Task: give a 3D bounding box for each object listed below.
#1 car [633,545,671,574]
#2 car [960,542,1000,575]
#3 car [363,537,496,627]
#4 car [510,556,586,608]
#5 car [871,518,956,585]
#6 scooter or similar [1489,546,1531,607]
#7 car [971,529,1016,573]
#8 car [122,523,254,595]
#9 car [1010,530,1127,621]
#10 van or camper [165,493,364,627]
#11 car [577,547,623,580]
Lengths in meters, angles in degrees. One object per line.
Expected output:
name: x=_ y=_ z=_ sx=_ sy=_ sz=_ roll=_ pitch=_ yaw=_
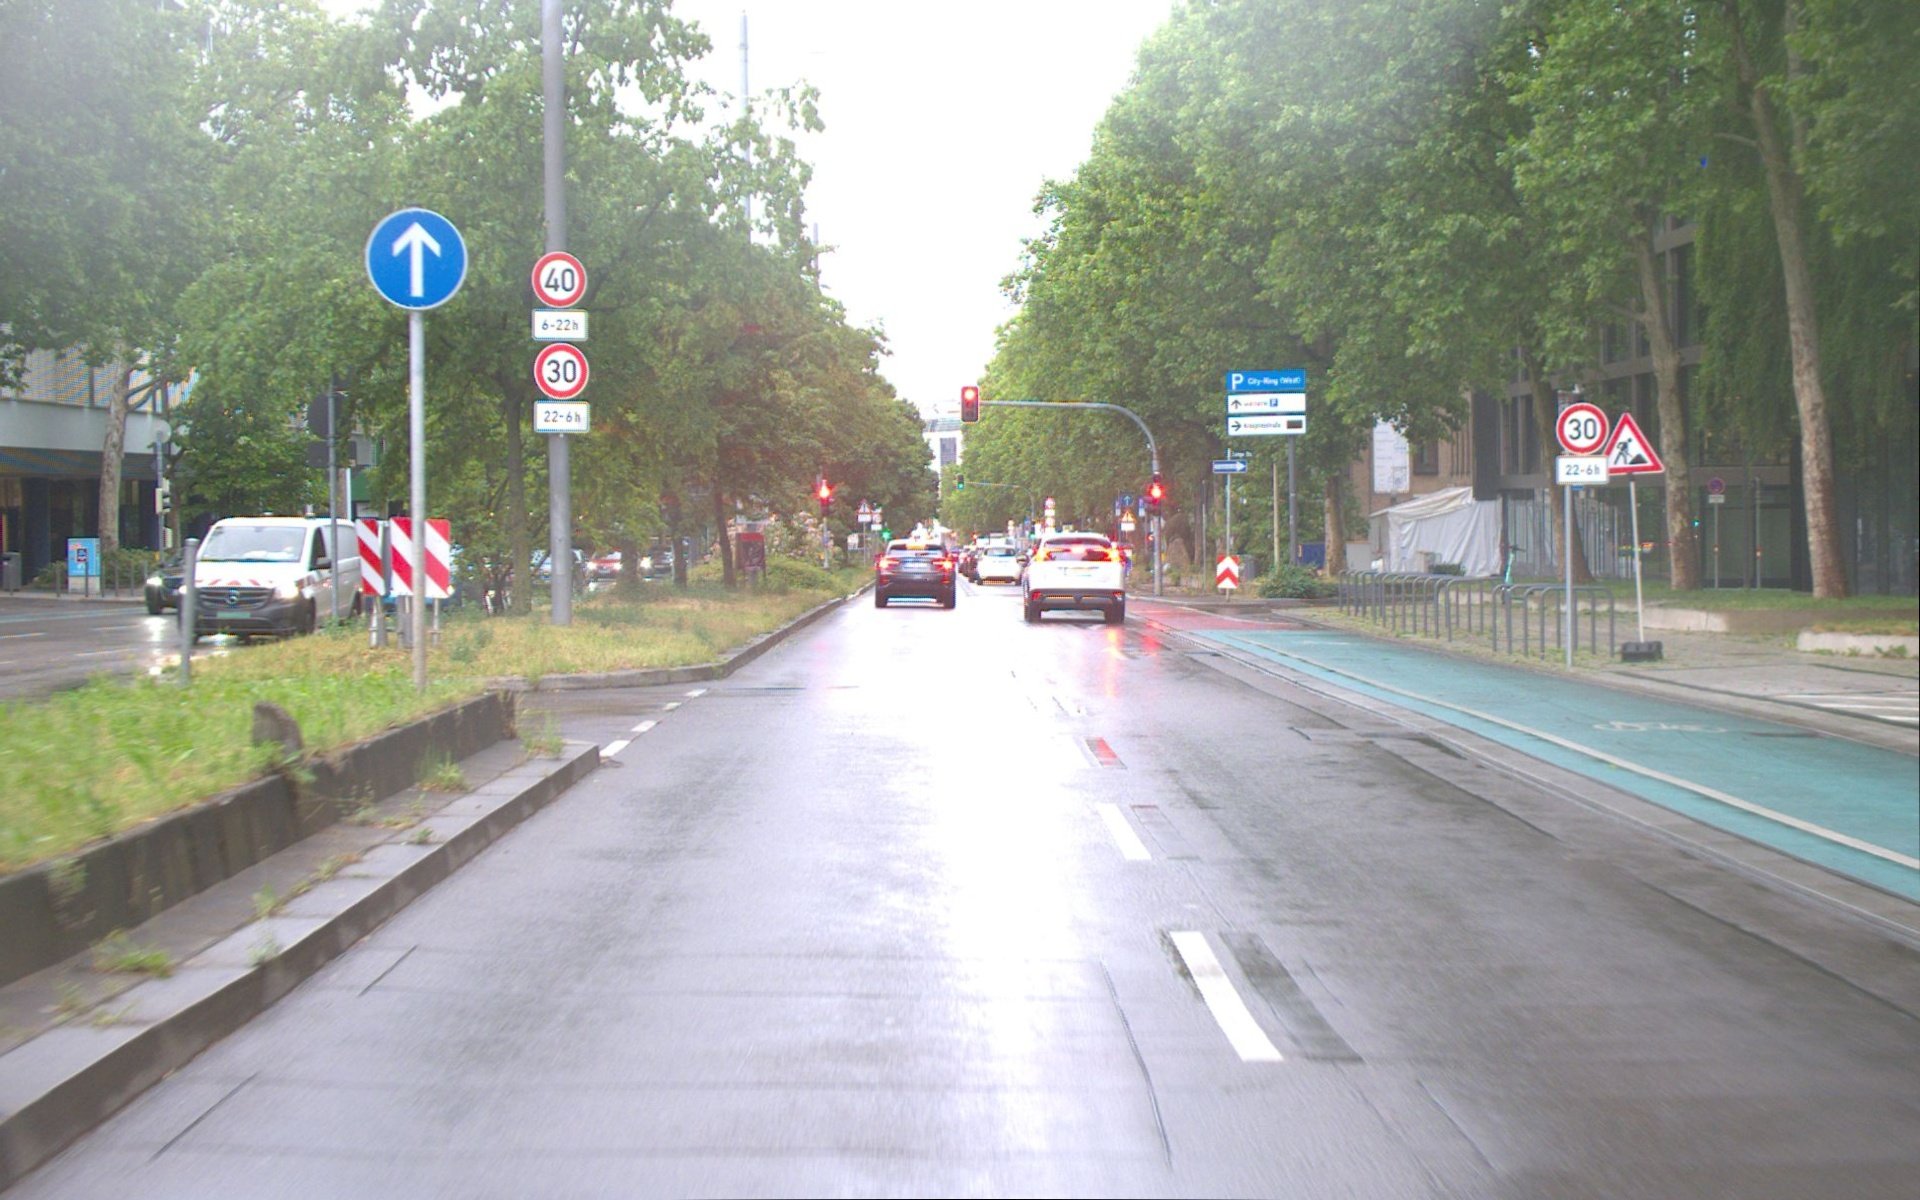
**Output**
car: x=-15.355 y=-2.005 z=171.371 sx=1.614 sy=1.389 sz=3.598 roll=0 pitch=1 yaw=-1
car: x=0.816 y=-1.768 z=144.970 sx=1.620 sy=1.369 sz=4.000 roll=0 pitch=1 yaw=-1
car: x=-9.832 y=-0.364 z=63.975 sx=1.843 sy=1.477 sz=4.397 roll=1 pitch=2 yaw=-1
car: x=-11.982 y=-0.533 z=100.168 sx=1.843 sy=1.424 sz=3.643 roll=0 pitch=2 yaw=-1
car: x=-1.078 y=-1.144 z=79.302 sx=1.918 sy=1.486 sz=4.000 roll=0 pitch=1 yaw=-1
scooter or similar: x=11.103 y=-0.486 z=69.428 sx=0.381 sy=1.224 sz=1.077 roll=1 pitch=1 yaw=36
car: x=1.285 y=-1.915 z=133.330 sx=1.620 sy=1.660 sz=4.000 roll=-1 pitch=1 yaw=-1
car: x=-16.247 y=-0.885 z=72.551 sx=1.749 sy=1.471 sz=4.096 roll=0 pitch=1 yaw=2
car: x=2.017 y=-0.491 z=65.073 sx=1.993 sy=1.649 sz=4.889 roll=0 pitch=1 yaw=-1
van or camper: x=-10.347 y=-0.635 z=51.532 sx=1.993 sy=1.907 sz=5.252 roll=0 pitch=1 yaw=-1
car: x=-15.669 y=-1.597 z=149.723 sx=1.614 sy=1.389 sz=4.185 roll=0 pitch=1 yaw=-1
